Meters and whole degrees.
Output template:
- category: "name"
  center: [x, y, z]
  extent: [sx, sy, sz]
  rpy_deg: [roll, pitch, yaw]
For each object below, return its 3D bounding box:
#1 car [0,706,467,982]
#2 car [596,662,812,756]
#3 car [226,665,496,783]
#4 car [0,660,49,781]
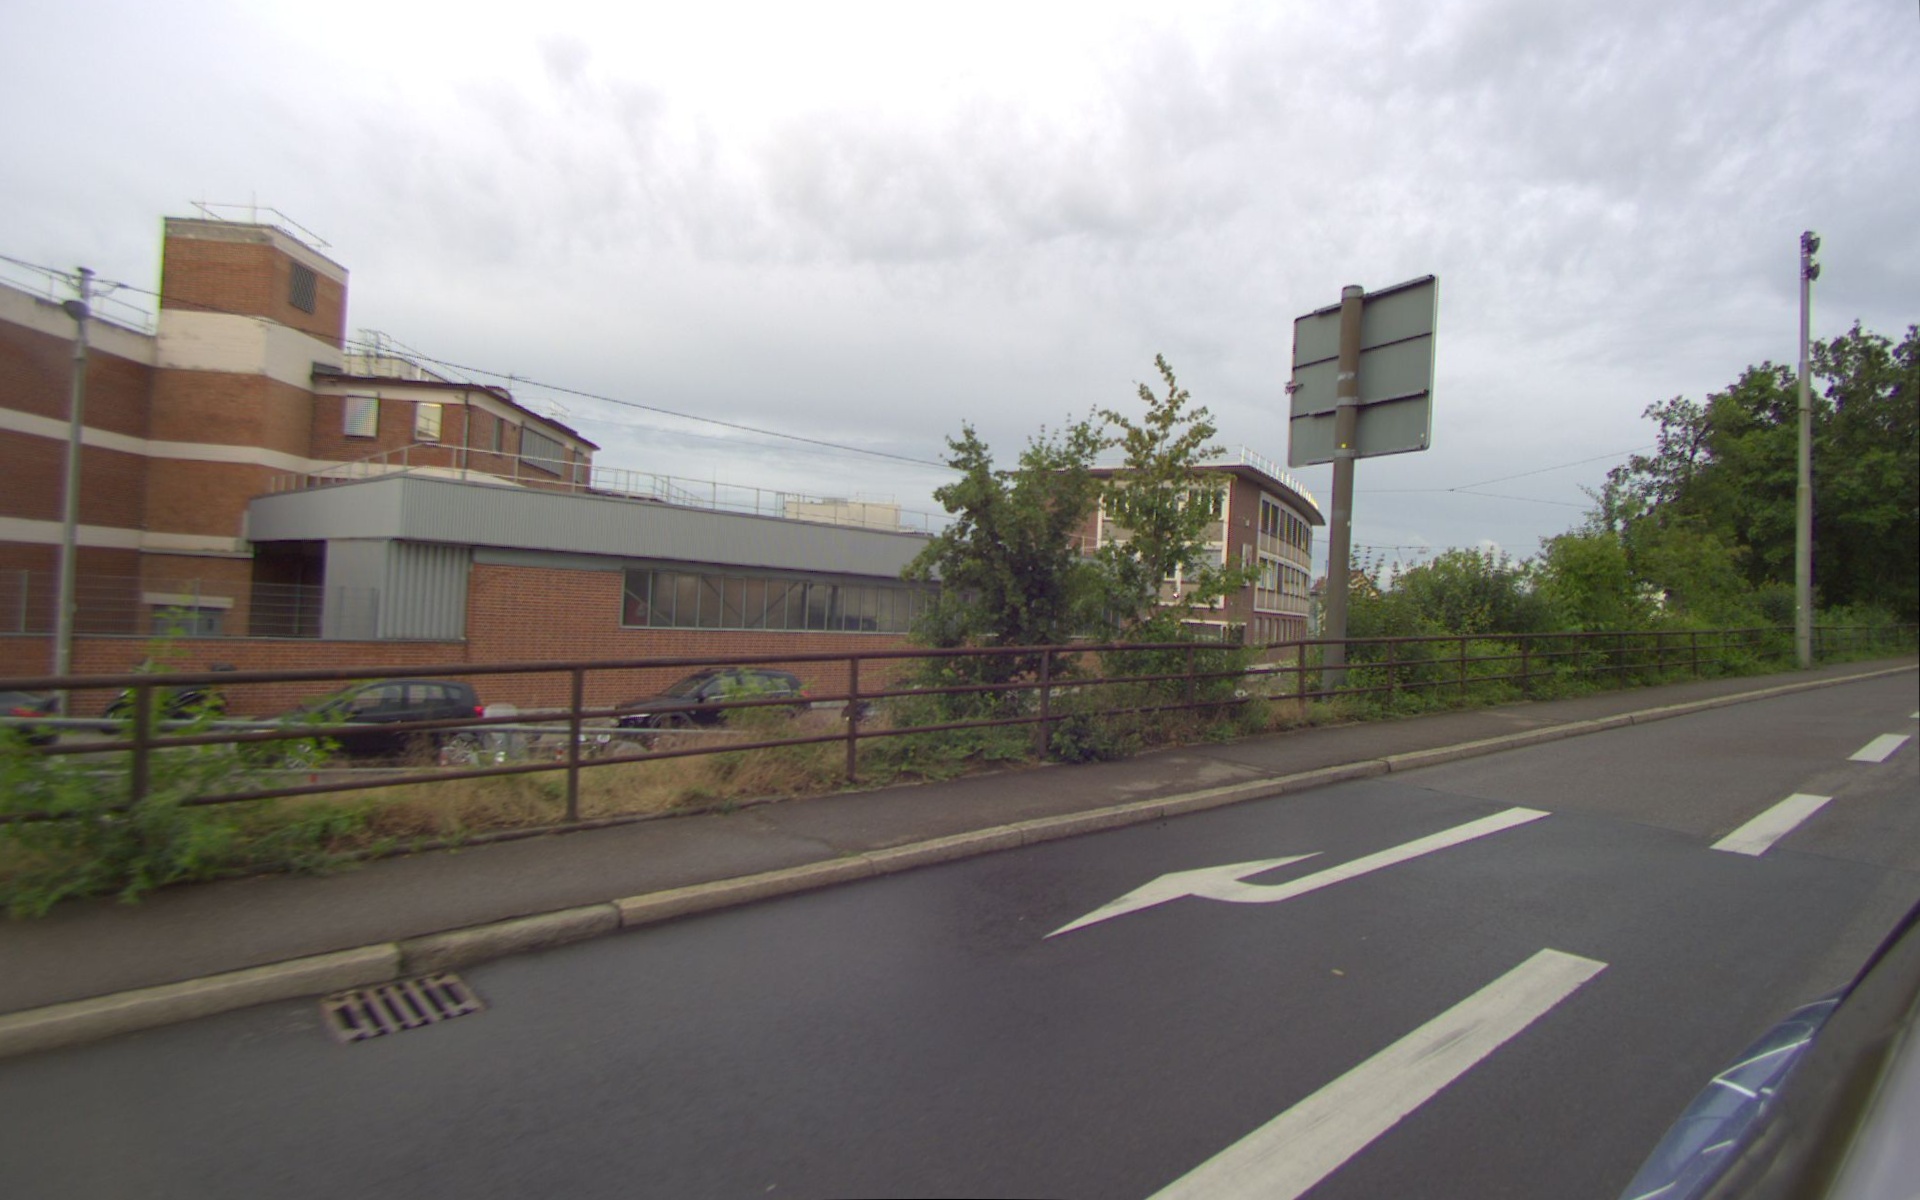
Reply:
- category: "car"
  center: [-6.366, 1.848, 8.357]
  extent: [3.790, 1.574, 1.701]
  rpy_deg: [1, 0, -42]
- category: "car"
  center: [-5.562, 2.310, 22.337]
  extent: [4.353, 1.652, 1.635]
  rpy_deg: [1, 0, -42]
- category: "car"
  center: [-10.547, 2.091, 17.970]
  extent: [3.862, 1.648, 1.701]
  rpy_deg: [1, 0, -41]
- category: "car"
  center: [-15.315, 1.637, 13.782]
  extent: [4.188, 1.630, 1.700]
  rpy_deg: [5, -3, -41]
